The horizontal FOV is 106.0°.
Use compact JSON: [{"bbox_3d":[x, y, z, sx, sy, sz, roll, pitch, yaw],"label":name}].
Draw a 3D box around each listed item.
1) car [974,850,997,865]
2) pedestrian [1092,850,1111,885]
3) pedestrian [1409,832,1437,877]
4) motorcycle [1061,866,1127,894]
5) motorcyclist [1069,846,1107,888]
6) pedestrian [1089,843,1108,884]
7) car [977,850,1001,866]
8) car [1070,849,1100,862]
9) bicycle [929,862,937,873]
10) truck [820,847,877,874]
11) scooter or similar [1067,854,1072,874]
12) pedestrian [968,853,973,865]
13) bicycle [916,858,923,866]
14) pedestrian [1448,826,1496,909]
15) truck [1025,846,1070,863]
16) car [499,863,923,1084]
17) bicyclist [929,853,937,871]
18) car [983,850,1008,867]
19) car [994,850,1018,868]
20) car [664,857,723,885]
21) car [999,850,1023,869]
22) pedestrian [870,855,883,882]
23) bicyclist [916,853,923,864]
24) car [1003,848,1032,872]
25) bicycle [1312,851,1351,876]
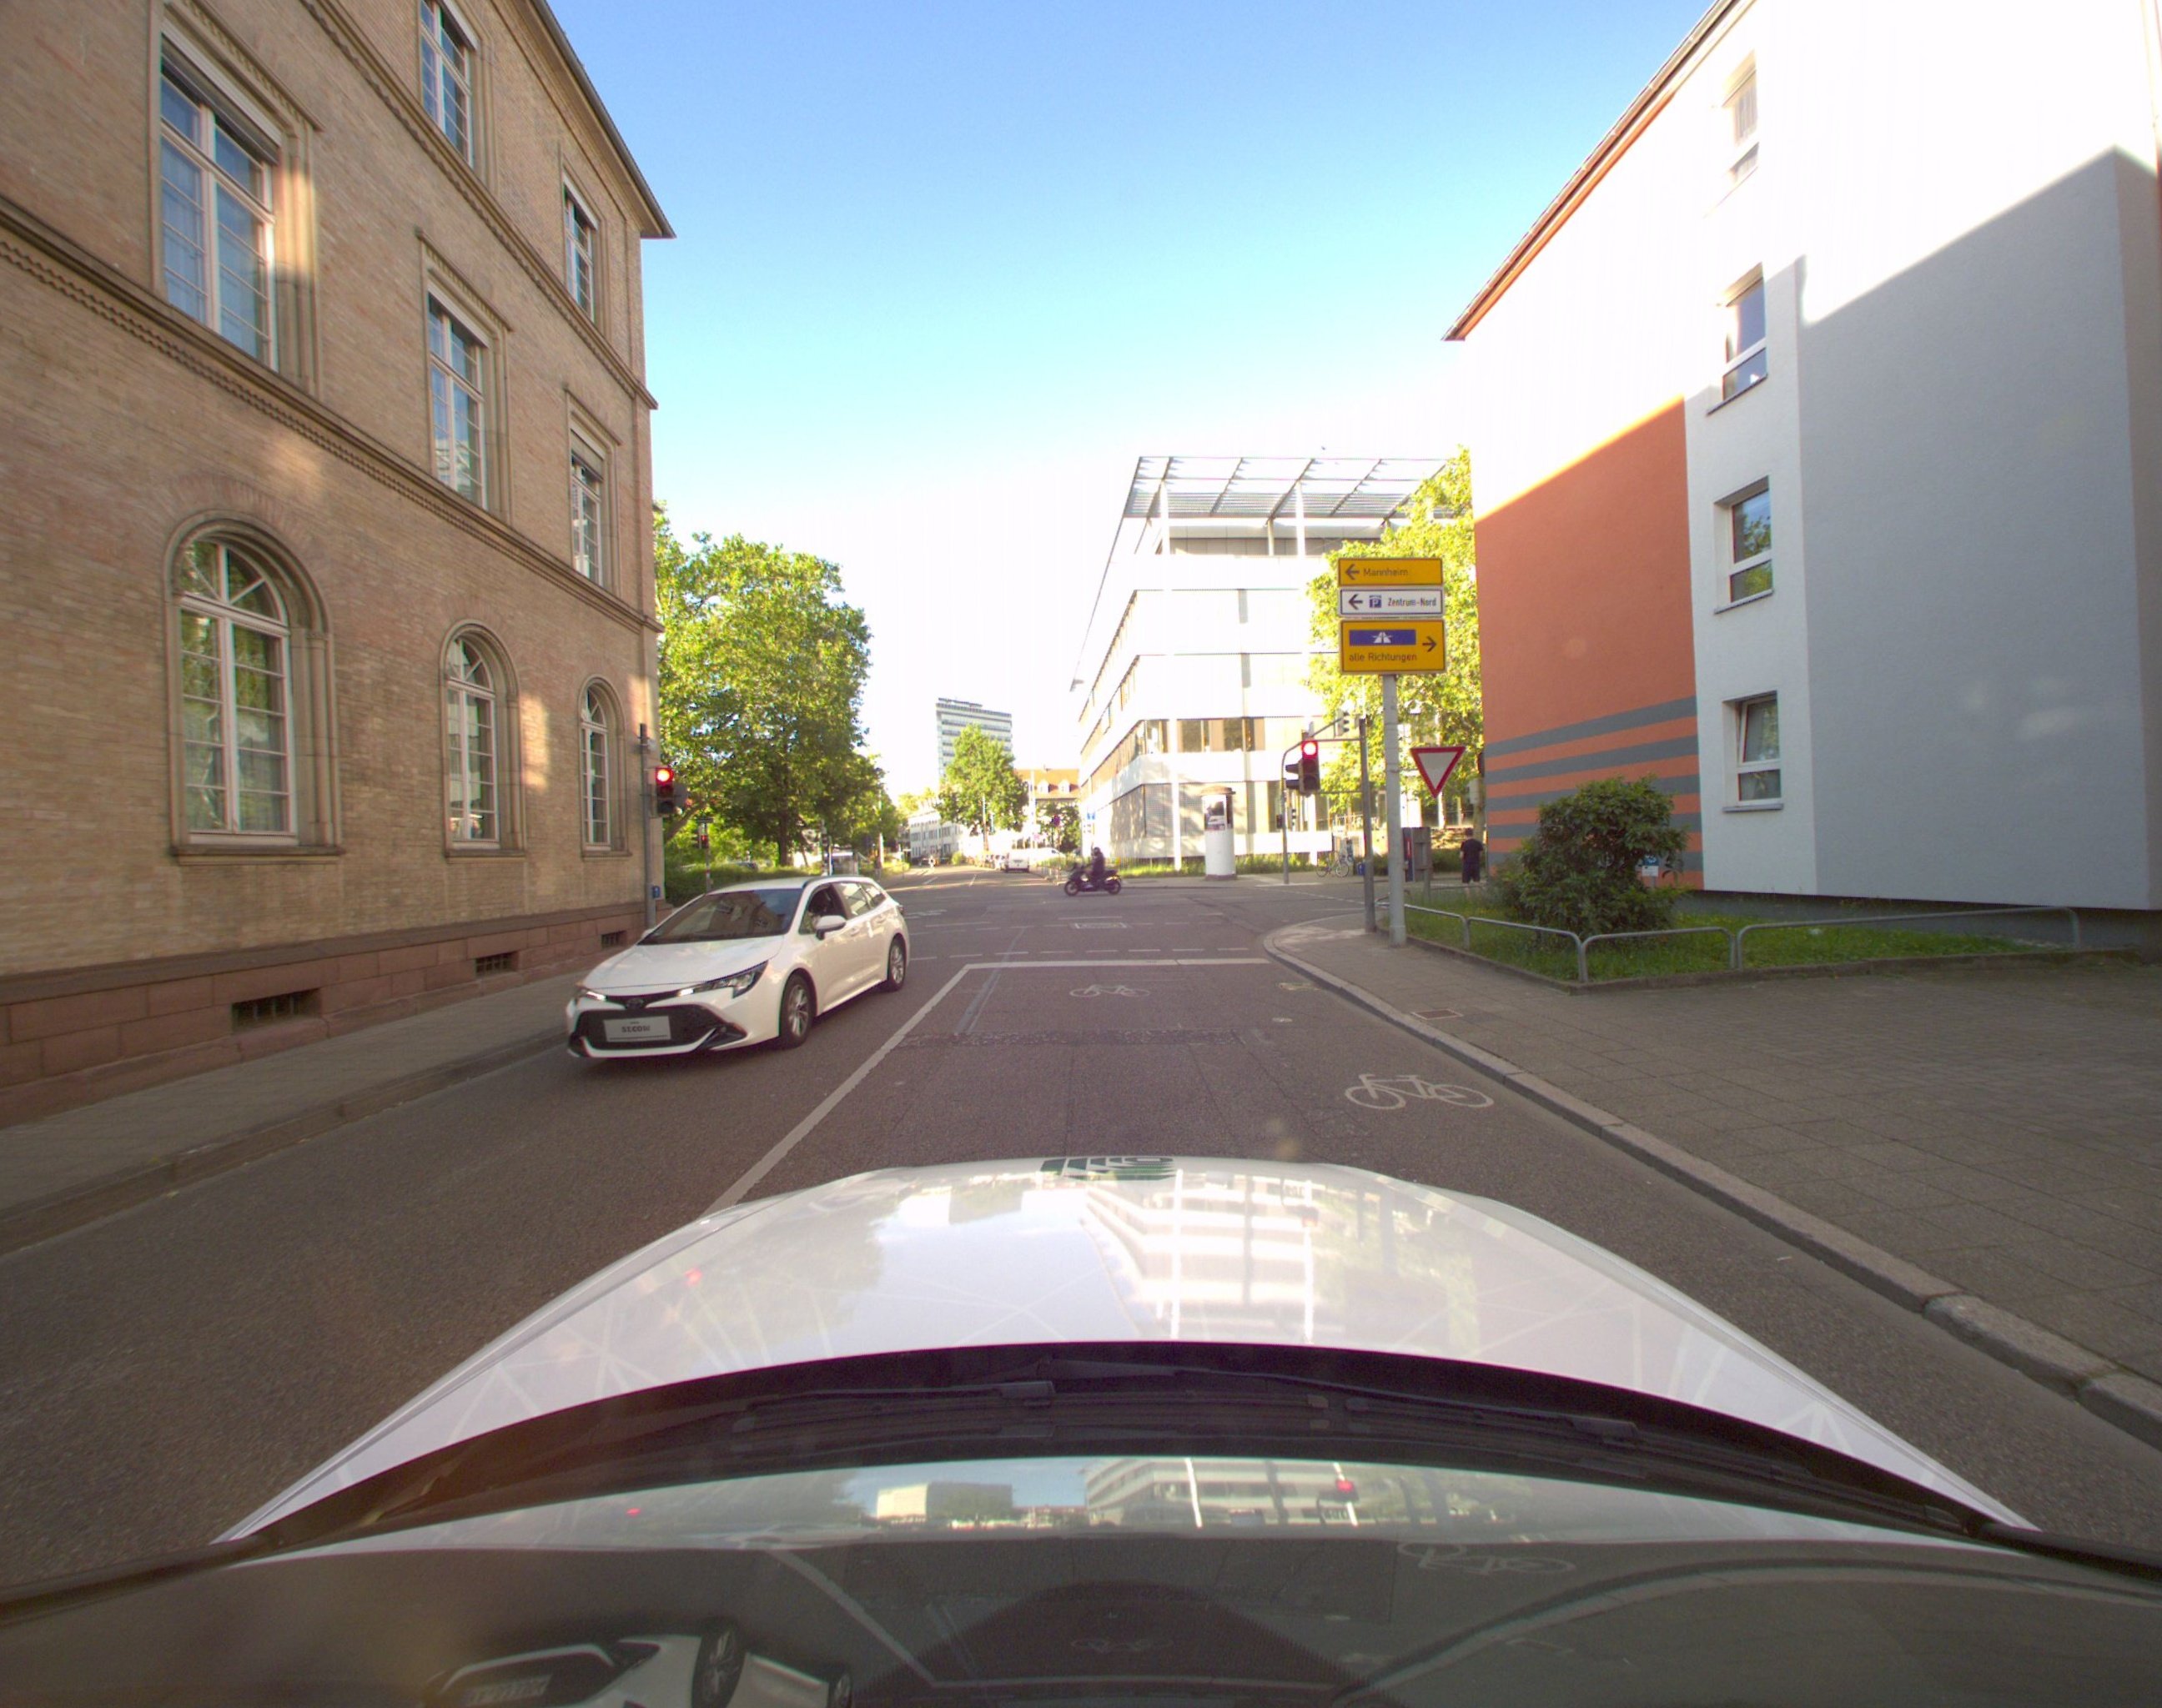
[{"bbox_3d":[-11.282,0.410,95.977,1.893,1.655,4.390,-2,1,-16],"label":"car"},{"bbox_3d":[0.923,0.599,37.337,0.561,1.540,0.673,-5,1,-16],"label":"pedestrian"},{"bbox_3d":[14.353,0.010,34.147,0.834,1.840,0.707,0,0,-8],"label":"pedestrian"},{"bbox_3d":[0.481,0.934,29.081,2.289,0.888,0.821,-2,0,1],"label":"motorcycle"},{"bbox_3d":[0.258,0.453,29.089,1.289,1.419,0.821,-2,0,1],"label":"motorcyclist"},{"bbox_3d":[0.831,0.441,37.946,0.555,1.850,0.680,-5,1,18],"label":"pedestrian"},{"bbox_3d":[-10.308,0.458,91.230,1.893,1.655,4.390,-2,1,-16],"label":"car"},{"bbox_3d":[0.499,0.152,104.445,3.563,1.546,1.549,-2,0,-17],"label":"car"},{"bbox_3d":[-13.411,1.221,73.820,0.615,0.969,1.837,-3,0,-7],"label":"bicycle"},{"bbox_3d":[-21.614,0.579,75.841,4.825,2.399,2.082,-2,0,-8],"label":"truck"},{"bbox_3d":[-0.830,0.747,58.761,0.329,1.424,1.333,0,-1,-4],"label":"scooter or similar"},{"bbox_3d":[-14.682,0.650,108.501,0.435,1.607,0.489,-2,0,-24],"label":"pedestrian"},{"bbox_3d":[-22.382,1.157,112.914,0.865,1.009,2.407,-5,0,-9],"label":"bicycle"},{"bbox_3d":[8.940,0.303,18.658,0.704,1.840,0.837,0,0,1],"label":"pedestrian"},{"bbox_3d":[-4.252,0.051,103.374,5.351,2.013,1.988,-2,0,-17],"label":"truck"},{"bbox_3d":[-3.240,0.936,8.393,1.878,1.476,4.551,-4,0,5],"label":"car"},{"bbox_3d":[-13.433,0.714,73.833,0.615,1.532,0.901,-3,0,-7],"label":"bicyclist"},{"bbox_3d":[-9.032,0.419,85.979,1.893,1.655,4.390,-2,1,-16],"label":"car"},{"bbox_3d":[-7.273,0.464,78.682,1.889,1.555,4.398,-2,1,-11],"label":"car"},{"bbox_3d":[-37.173,1.615,78.129,4.551,2.391,2.069,-3,0,-7],"label":"car"},{"bbox_3d":[-6.339,0.491,73.284,1.887,1.555,4.403,-2,1,-8],"label":"car"},{"bbox_3d":[-13.299,0.921,53.011,0.704,1.723,0.951,-3,0,-13],"label":"pedestrian"},{"bbox_3d":[-22.416,0.648,112.930,0.865,1.515,1.016,-5,0,-9],"label":"bicyclist"},{"bbox_3d":[-5.098,0.439,64.978,2.084,1.795,4.403,-2,1,-8],"label":"car"},{"bbox_3d":[11.028,0.411,35.928,0.510,1.049,1.670,-4,3,-33],"label":"bicycle"}]
